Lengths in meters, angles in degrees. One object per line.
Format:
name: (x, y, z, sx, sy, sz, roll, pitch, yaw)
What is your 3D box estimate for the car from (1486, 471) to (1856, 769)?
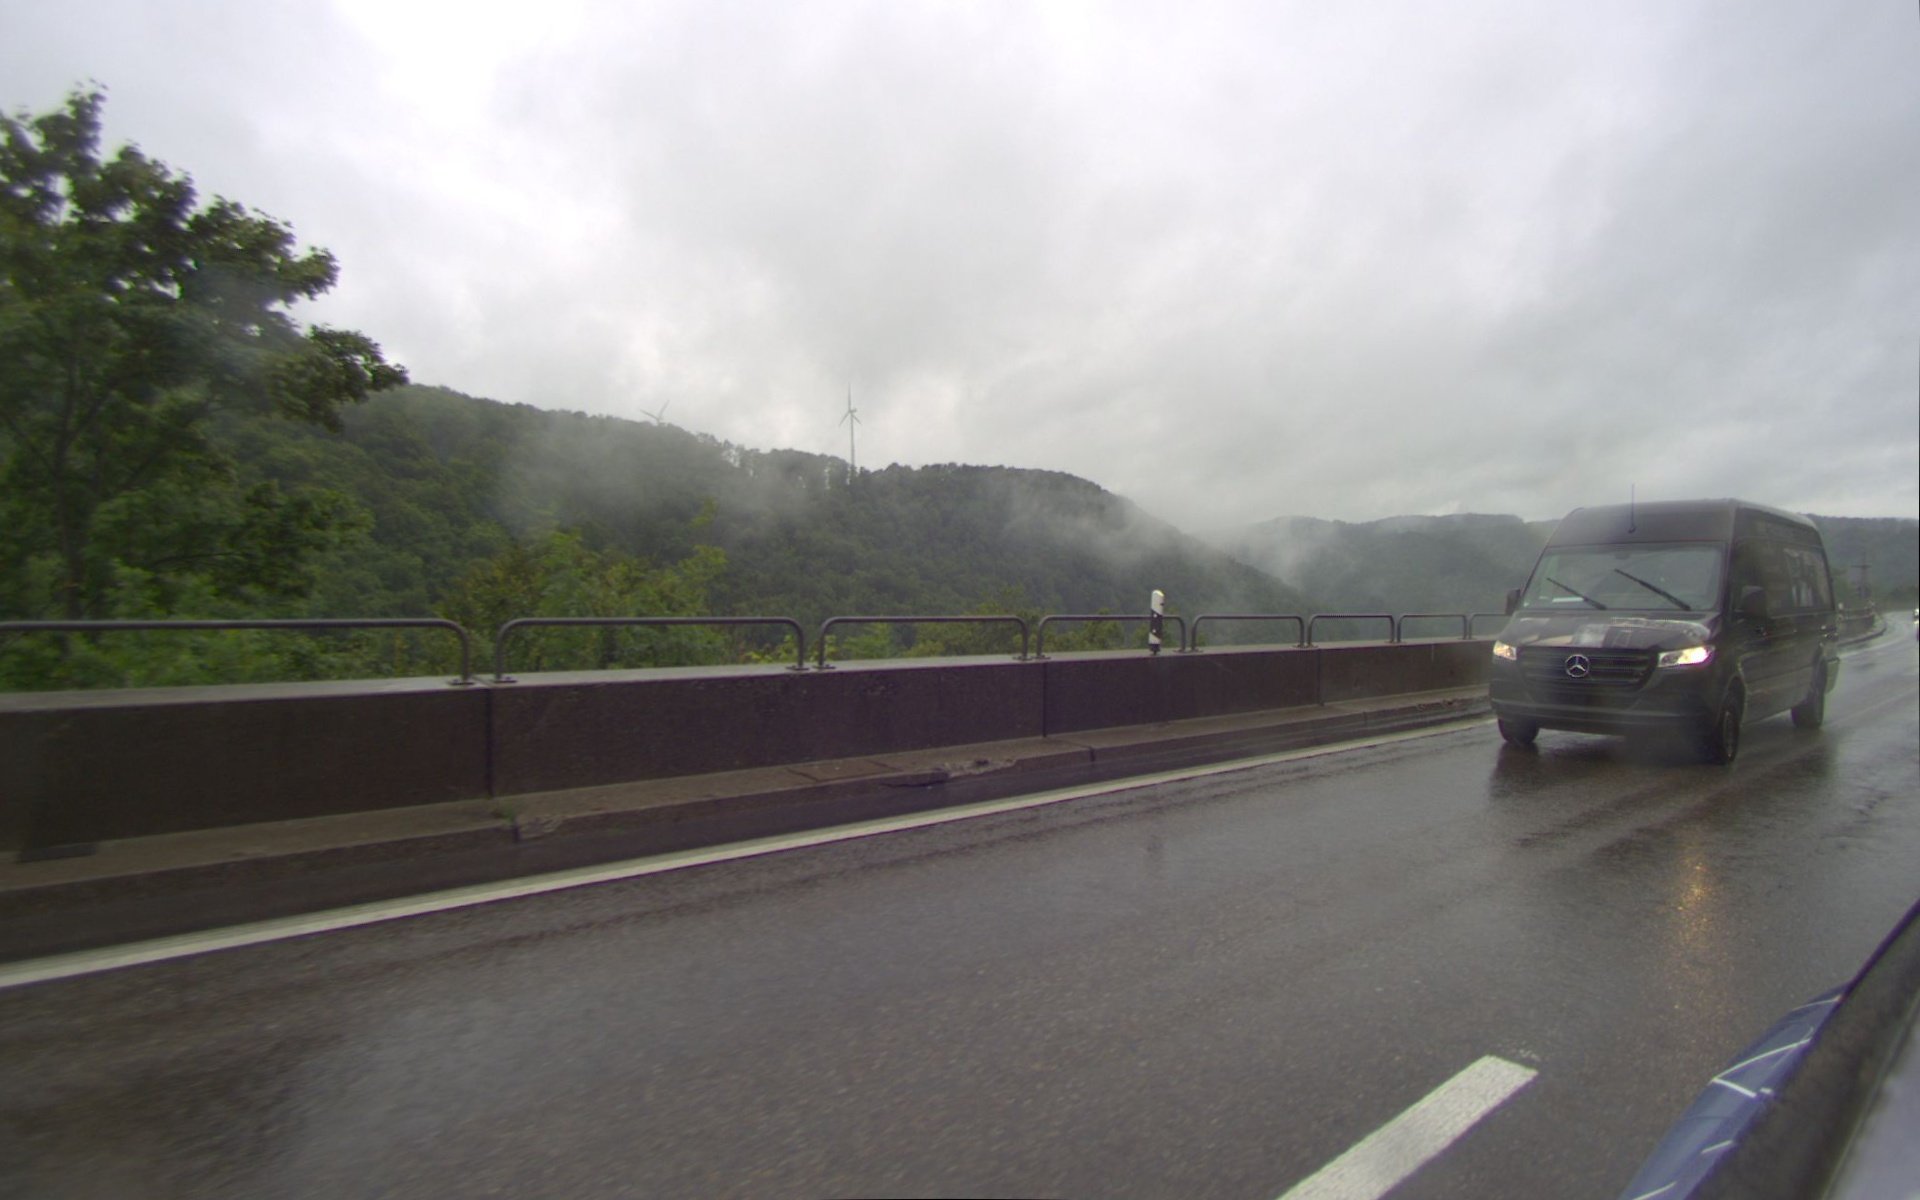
car: (8.362, 0.148, 11.523, 6.589, 2.525, 1.997, 0, 1, -42)
